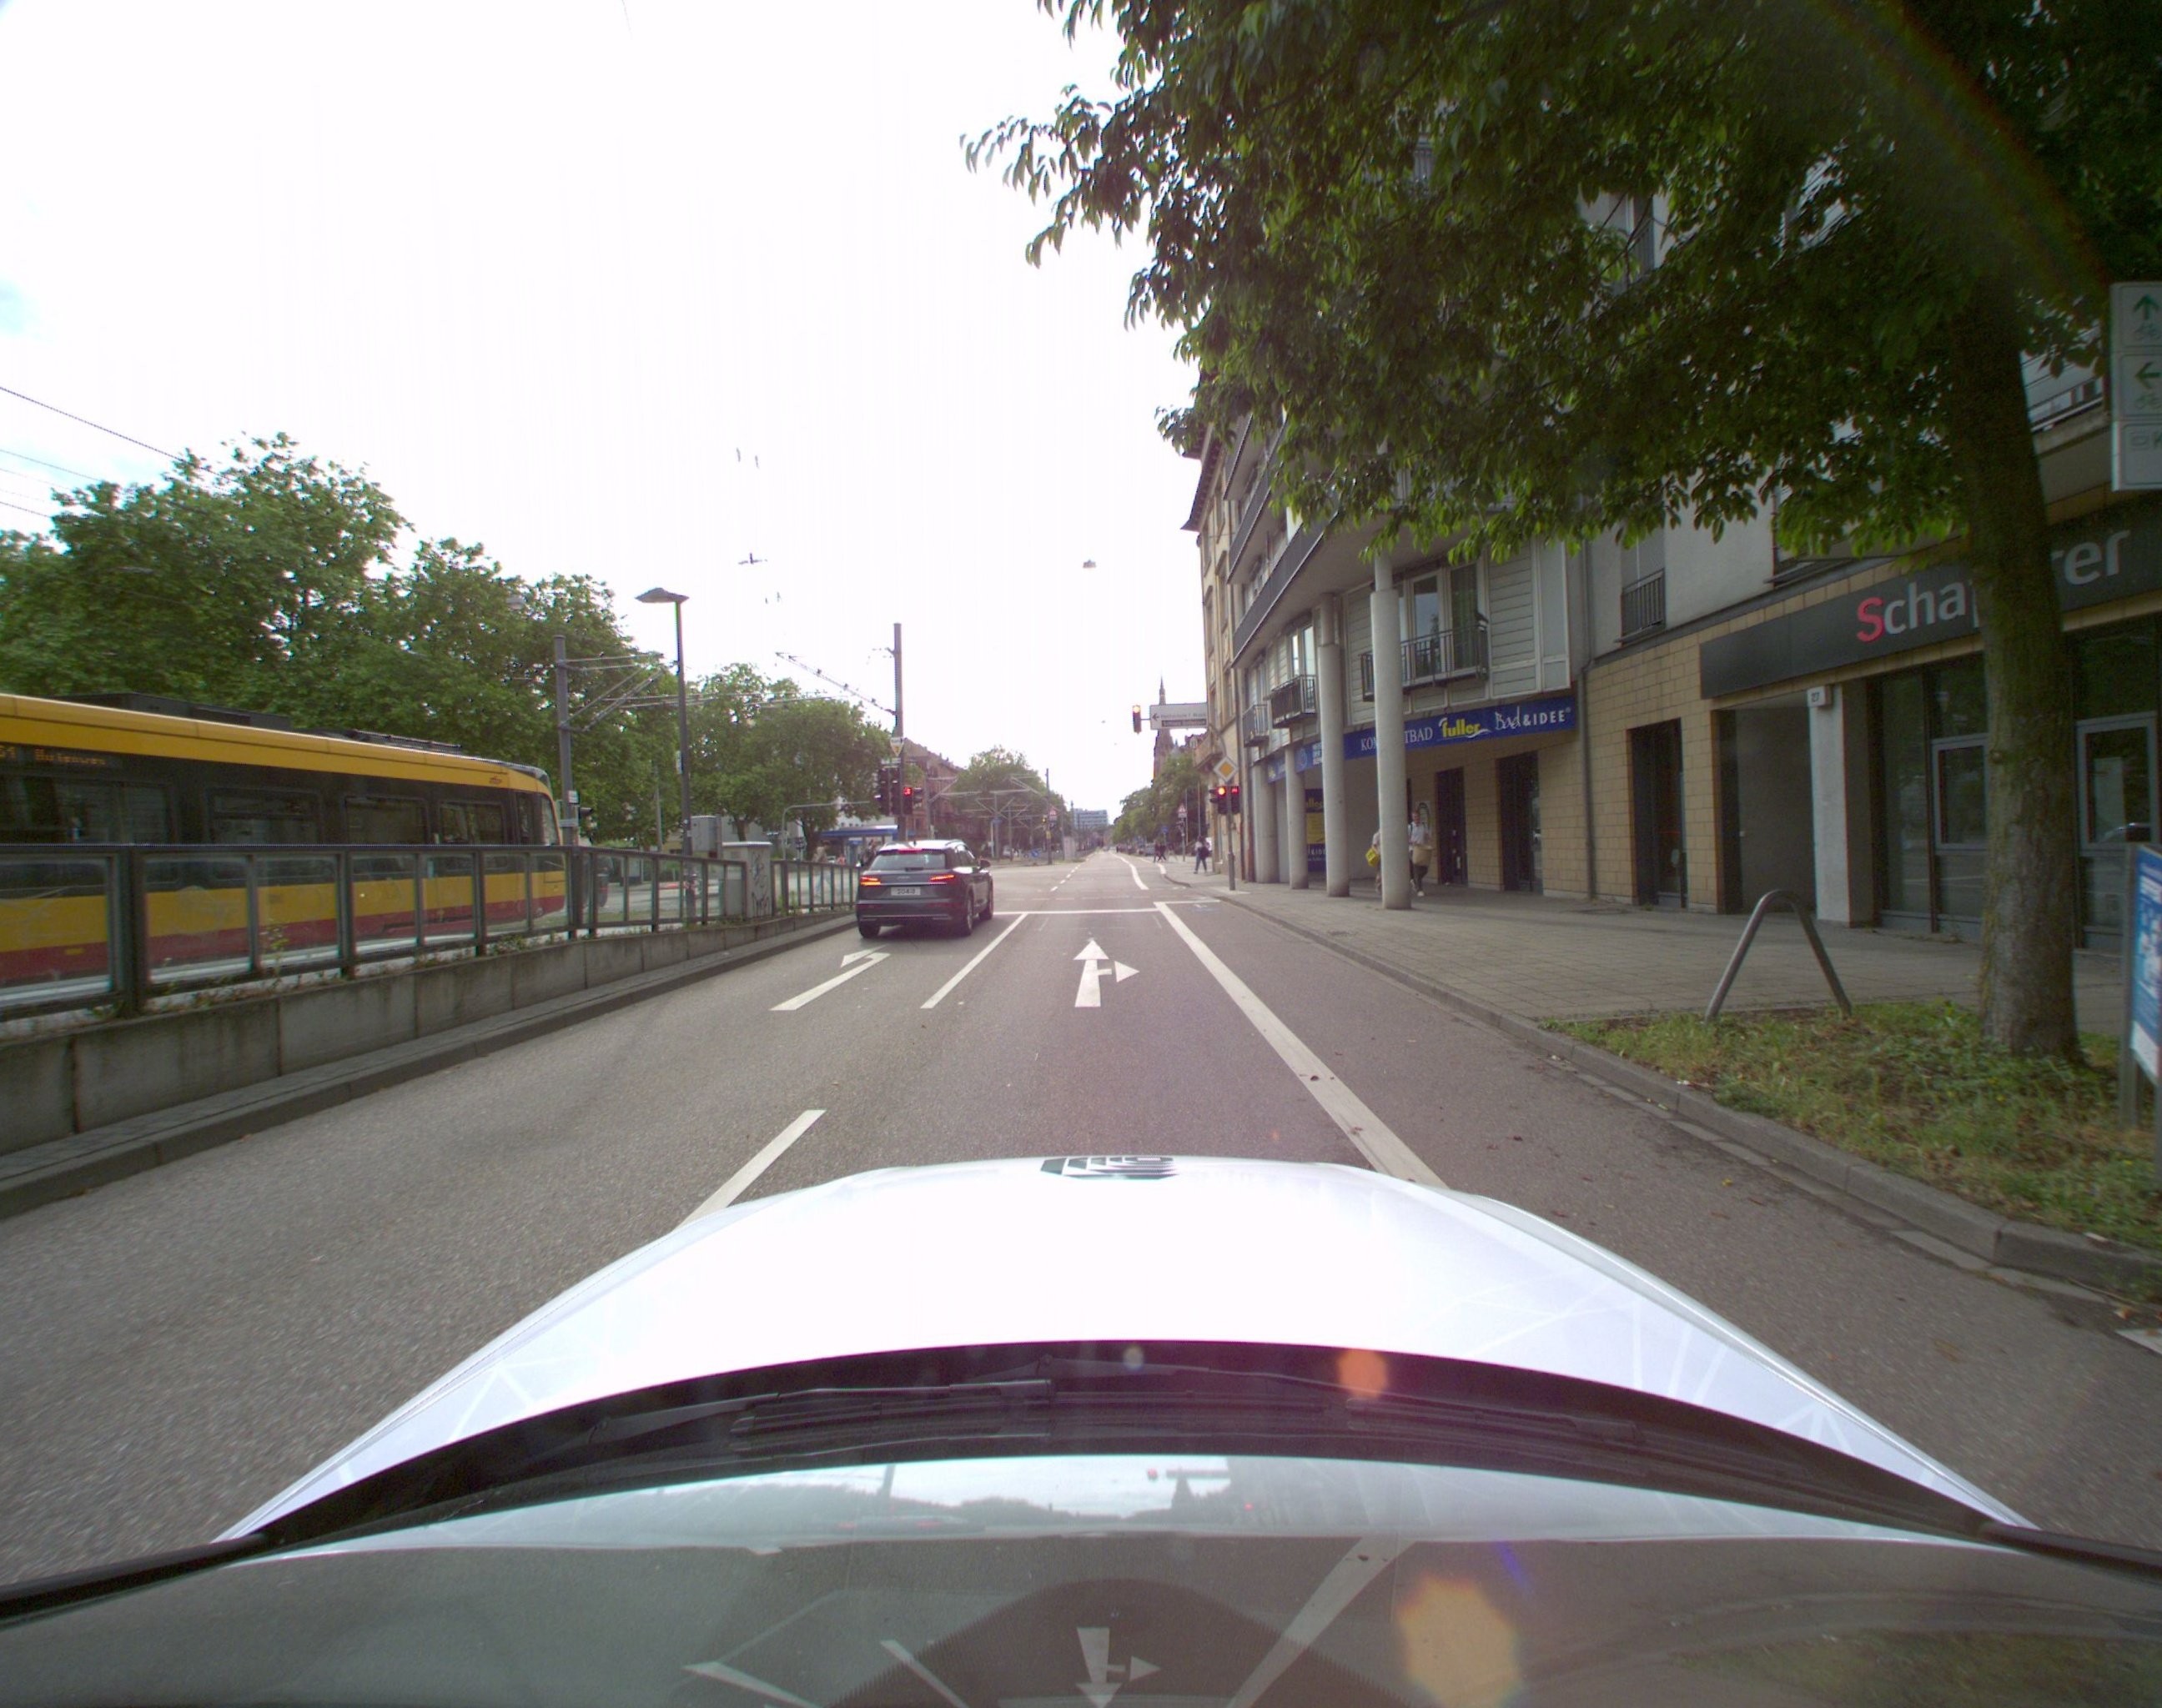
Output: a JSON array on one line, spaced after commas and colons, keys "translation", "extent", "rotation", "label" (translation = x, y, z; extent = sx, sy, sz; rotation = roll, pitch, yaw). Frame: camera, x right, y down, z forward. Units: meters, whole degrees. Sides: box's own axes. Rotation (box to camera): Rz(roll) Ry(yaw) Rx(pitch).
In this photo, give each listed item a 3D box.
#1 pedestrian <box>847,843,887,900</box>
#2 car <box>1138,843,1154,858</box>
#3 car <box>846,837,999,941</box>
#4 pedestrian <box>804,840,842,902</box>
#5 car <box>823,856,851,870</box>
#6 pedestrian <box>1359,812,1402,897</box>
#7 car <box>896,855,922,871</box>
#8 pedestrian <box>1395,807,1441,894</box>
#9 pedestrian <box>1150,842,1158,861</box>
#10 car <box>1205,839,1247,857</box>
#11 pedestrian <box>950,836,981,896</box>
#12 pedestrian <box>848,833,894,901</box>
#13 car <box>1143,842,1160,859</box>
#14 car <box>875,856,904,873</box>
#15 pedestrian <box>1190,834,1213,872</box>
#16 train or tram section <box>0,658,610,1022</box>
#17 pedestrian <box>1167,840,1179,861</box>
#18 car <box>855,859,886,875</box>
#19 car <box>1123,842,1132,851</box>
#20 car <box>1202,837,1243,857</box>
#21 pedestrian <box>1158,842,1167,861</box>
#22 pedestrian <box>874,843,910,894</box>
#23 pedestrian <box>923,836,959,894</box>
[{"translation": [-6.375, 0.511, 24.299], "extent": [1.000, 1.652, 0.622], "rotation": [-1, 0, -32], "label": "pedestrian"}, {"translation": [8.989, -0.500, 113.631], "extent": [1.986, 2.013, 4.001], "rotation": [-1, 0, 1], "label": "car"}, {"translation": [-2.731, 0.536, 15.083], "extent": [1.873, 1.601, 4.358], "rotation": [-2, 0, 1], "label": "car"}, {"translation": [-7.775, 0.497, 24.520], "extent": [1.016, 1.813, 0.580], "rotation": [-1, 0, -22], "label": "pedestrian"}, {"translation": [-28.526, 0.983, 95.243], "extent": [1.986, 1.530, 4.001], "rotation": [-1, 0, 1], "label": "car"}, {"translation": [6.582, 0.007, 17.919], "extent": [0.613, 1.805, 0.738], "rotation": [-3, 0, 3], "label": "pedestrian"}, {"translation": [-18.294, 0.949, 86.859], "extent": [1.887, 1.557, 3.838], "rotation": [-1, 0, 1], "label": "car"}, {"translation": [7.540, -0.082, 18.237], "extent": [0.672, 1.890, 0.738], "rotation": [-3, 0, 3], "label": "pedestrian"}, {"translation": [5.964, -0.171, 66.581], "extent": [0.544, 1.537, 0.465], "rotation": [-1, 0, -3], "label": "pedestrian"}, {"translation": [13.999, -0.574, 78.737], "extent": [3.785, 1.601, 2.001], "rotation": [-1, 0, 1], "label": "car"}, {"translation": [-3.253, 0.332, 23.071], "extent": [0.725, 1.661, 0.756], "rotation": [-1, 0, 1], "label": "pedestrian"}, {"translation": [-5.671, 0.342, 22.017], "extent": [1.133, 1.778, 0.625], "rotation": [-2, 0, -16], "label": "pedestrian"}, {"translation": [8.999, -0.446, 104.191], "extent": [1.986, 2.013, 4.001], "rotation": [-1, 0, 1], "label": "car"}, {"translation": [-18.751, 0.996, 79.882], "extent": [1.887, 1.557, 3.838], "rotation": [-1, 0, 1], "label": "car"}, {"translation": [5.380, -0.049, 36.363], "extent": [0.663, 1.680, 0.874], "rotation": [-1, 0, 40], "label": "pedestrian"}, {"translation": [-12.111, -0.131, 9.951], "extent": [3.048, 3.588, 15.855], "rotation": [-1, 0, 2], "label": "train or tram section"}, {"translation": [7.291, -0.295, 64.490], "extent": [0.848, 1.654, 0.508], "rotation": [-1, 0, -1], "label": "pedestrian"}, {"translation": [-19.014, 1.131, 73.649], "extent": [1.628, 1.325, 4.001], "rotation": [-1, 0, 1], "label": "car"}, {"translation": [10.644, -1.747, 186.105], "extent": [1.986, 2.013, 4.001], "rotation": [-1, 0, 1], "label": "car"}, {"translation": [14.260, -0.715, 82.145], "extent": [3.785, 1.903, 2.001], "rotation": [-1, 0, 1], "label": "car"}, {"translation": [6.605, -0.200, 66.172], "extent": [0.651, 1.537, 0.465], "rotation": [-1, 0, -3], "label": "pedestrian"}, {"translation": [-5.974, 0.444, 25.754], "extent": [0.693, 1.593, 0.836], "rotation": [-1, 0, 39], "label": "pedestrian"}, {"translation": [-4.397, 0.324, 25.587], "extent": [0.906, 1.784, 0.652], "rotation": [-1, 0, 39], "label": "pedestrian"}]
